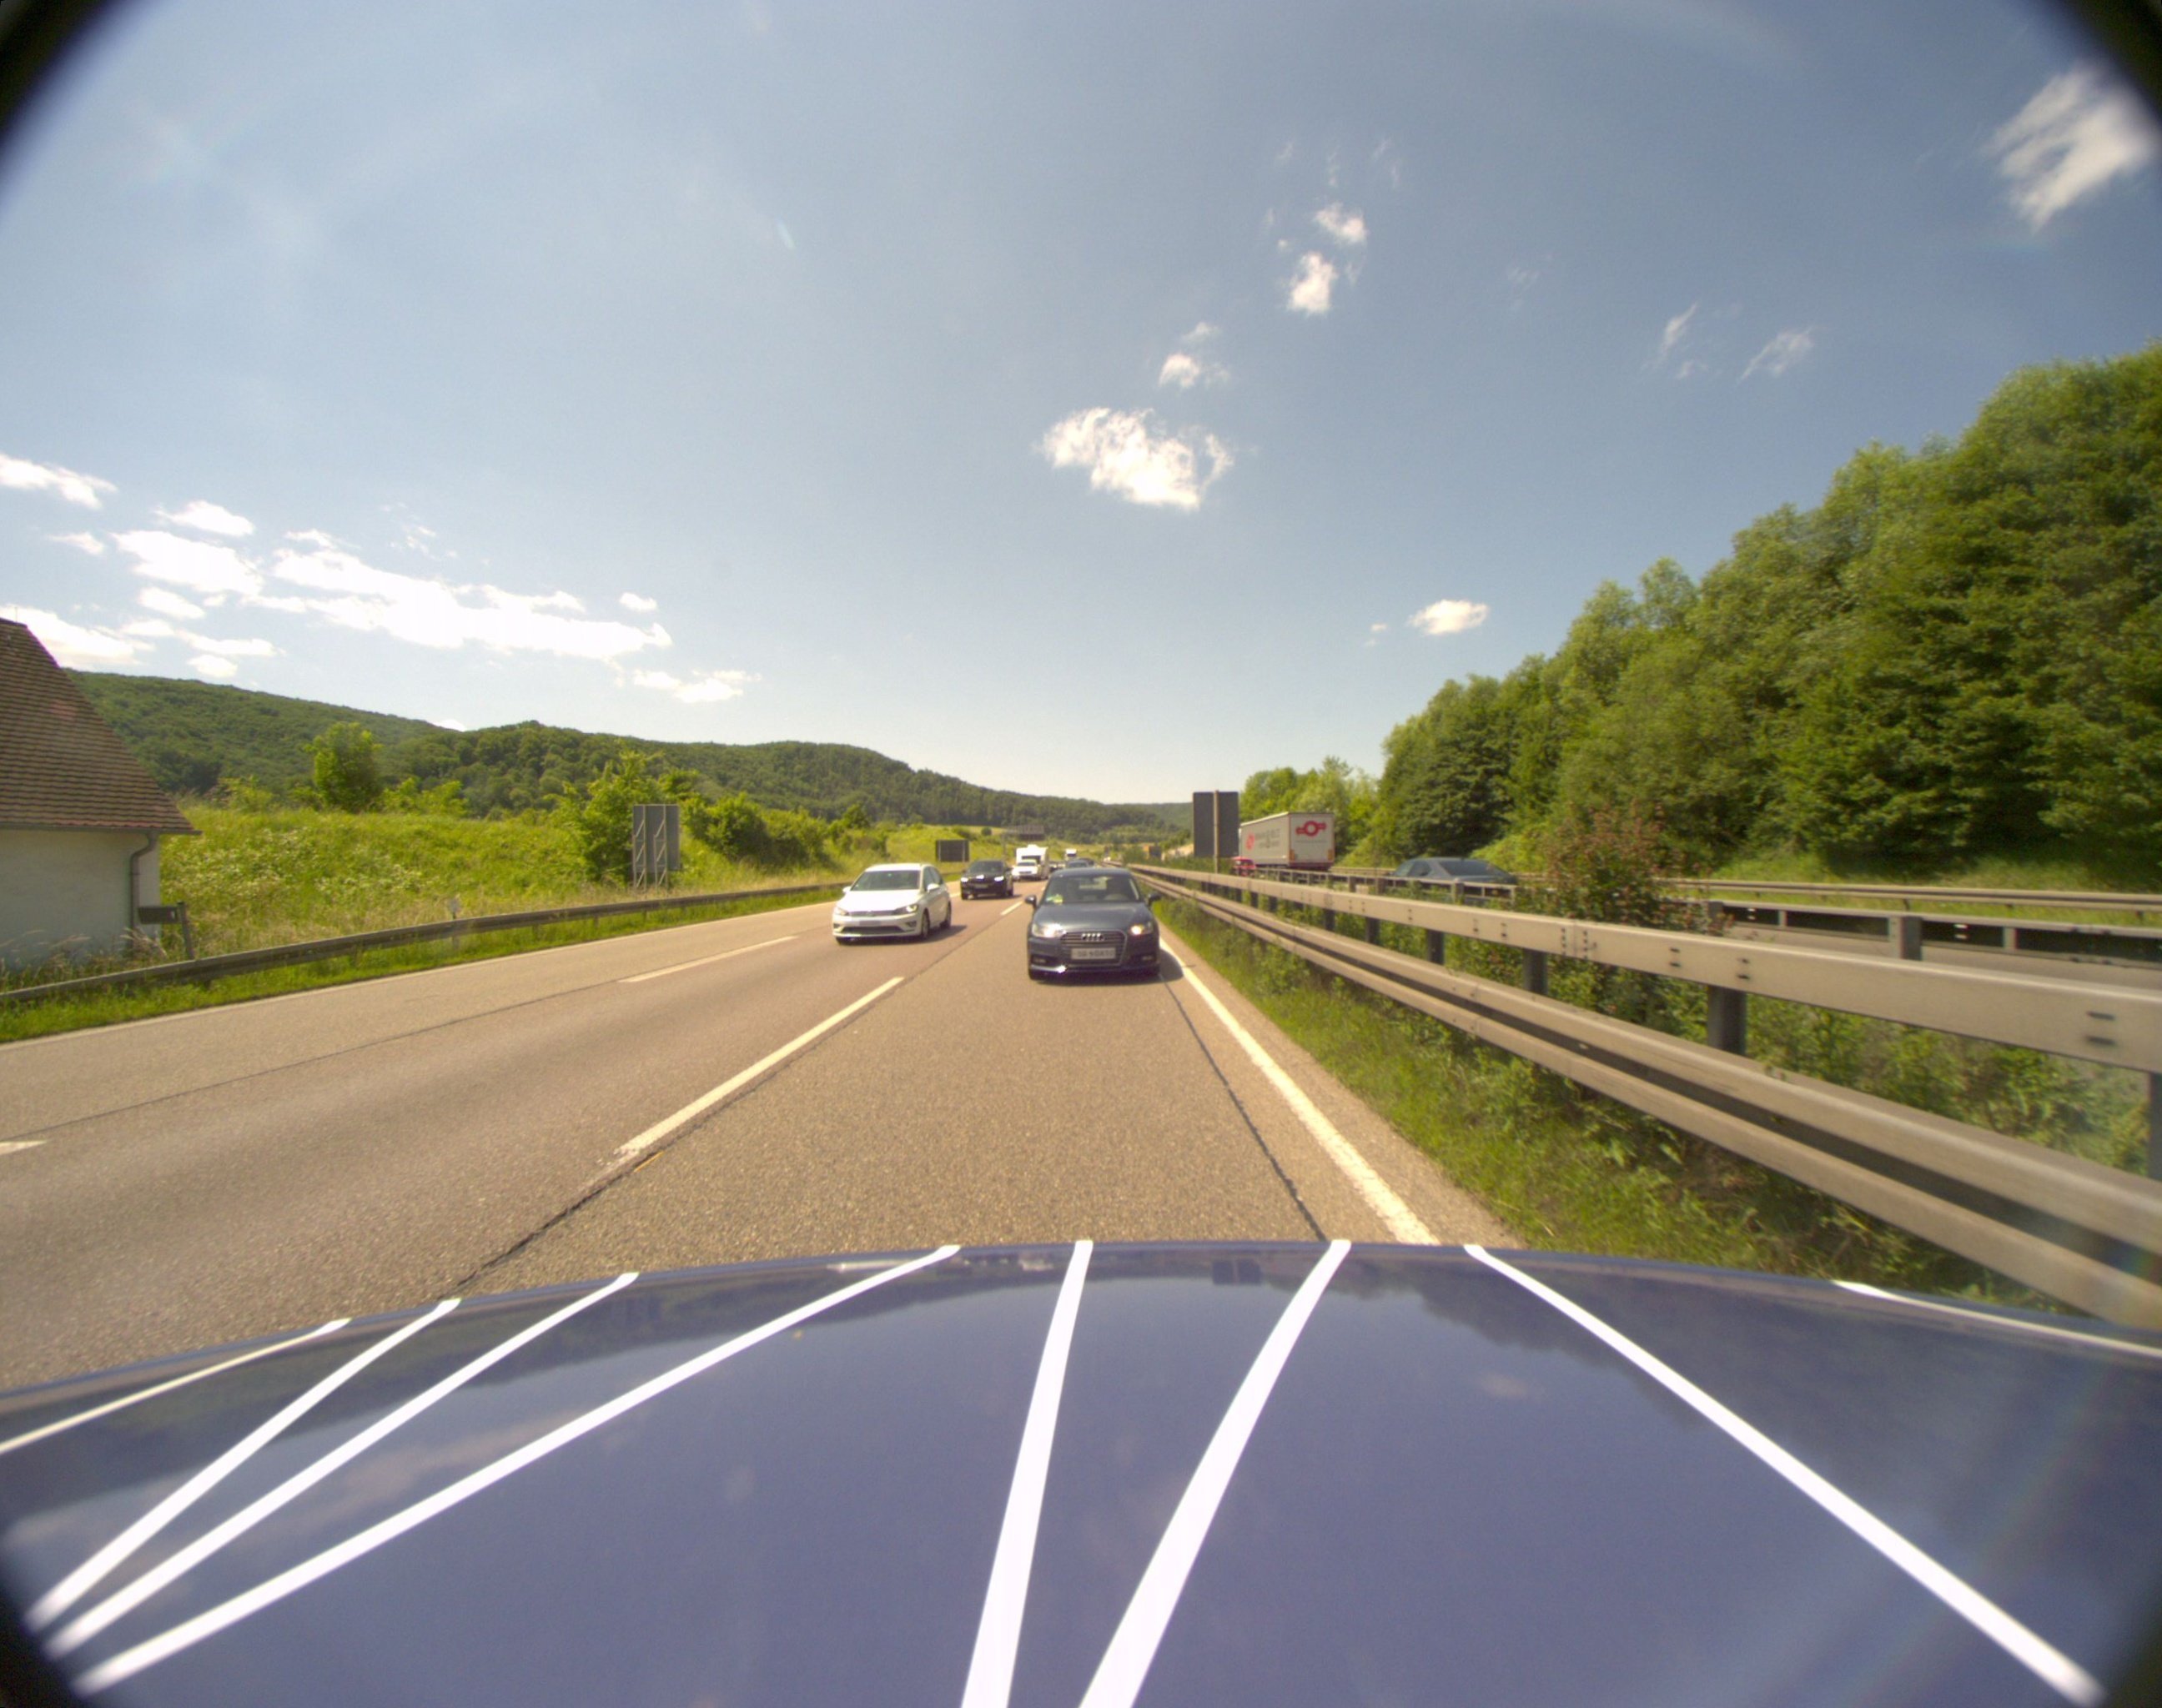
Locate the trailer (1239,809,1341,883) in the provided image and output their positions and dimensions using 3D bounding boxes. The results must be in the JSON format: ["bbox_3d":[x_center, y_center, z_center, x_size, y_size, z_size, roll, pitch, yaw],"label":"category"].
[{"bbox_3d":[12.978,-0.452,48.979,2.789,3.976,14.160,-2,0,1],"label":"trailer"}]

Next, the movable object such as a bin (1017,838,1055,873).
[{"bbox_3d":[-3.612,0.133,62.581,2.481,2.616,6.709,-2,0,1],"label":"movable object such as a bin"}]

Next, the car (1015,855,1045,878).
[{"bbox_3d":[-3.714,0.894,55.861,1.821,1.574,4.000,-1,0,1],"label":"car"}]

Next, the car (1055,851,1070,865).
[{"bbox_3d":[-2.806,0.590,112.549,1.999,2.002,3.998,-1,0,-4],"label":"car"}]

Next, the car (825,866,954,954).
[{"bbox_3d":[-3.913,1.069,16.231,1.777,1.532,4.053,-2,0,-1],"label":"car"}]

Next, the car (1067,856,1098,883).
[{"bbox_3d":[0.152,0.962,48.252,1.835,1.586,4.001,-1,0,2],"label":"car"}]

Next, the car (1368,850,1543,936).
[{"bbox_3d":[8.139,0.764,17.057,1.779,1.642,4.491,-1,0,1],"label":"car"}]

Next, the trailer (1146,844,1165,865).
[{"bbox_3d":[14.701,0.144,150.497,2.587,3.981,12.601,-2,0,1],"label":"trailer"}]

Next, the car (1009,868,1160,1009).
[{"bbox_3d":[0.172,0.960,10.214,1.591,1.401,4.001,-2,0,4],"label":"car"}]

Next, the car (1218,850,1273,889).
[{"bbox_3d":[9.043,0.807,42.130,1.999,2.002,4.333,-2,0,-1],"label":"car"}]

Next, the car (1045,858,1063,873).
[{"bbox_3d":[-2.971,1.220,83.645,1.711,1.542,4.000,-1,0,1],"label":"car"}]

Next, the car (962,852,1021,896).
[{"bbox_3d":[-3.747,0.814,32.469,1.893,1.761,4.172,-1,0,2],"label":"car"}]

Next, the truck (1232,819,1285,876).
[{"bbox_3d":[13.090,-0.453,56.488,2.735,3.978,5.370,0,0,1],"label":"truck"}]

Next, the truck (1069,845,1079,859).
[{"bbox_3d":[-1.737,-0.478,197.550,2.336,3.623,7.006,-2,0,1],"label":"truck"}]
